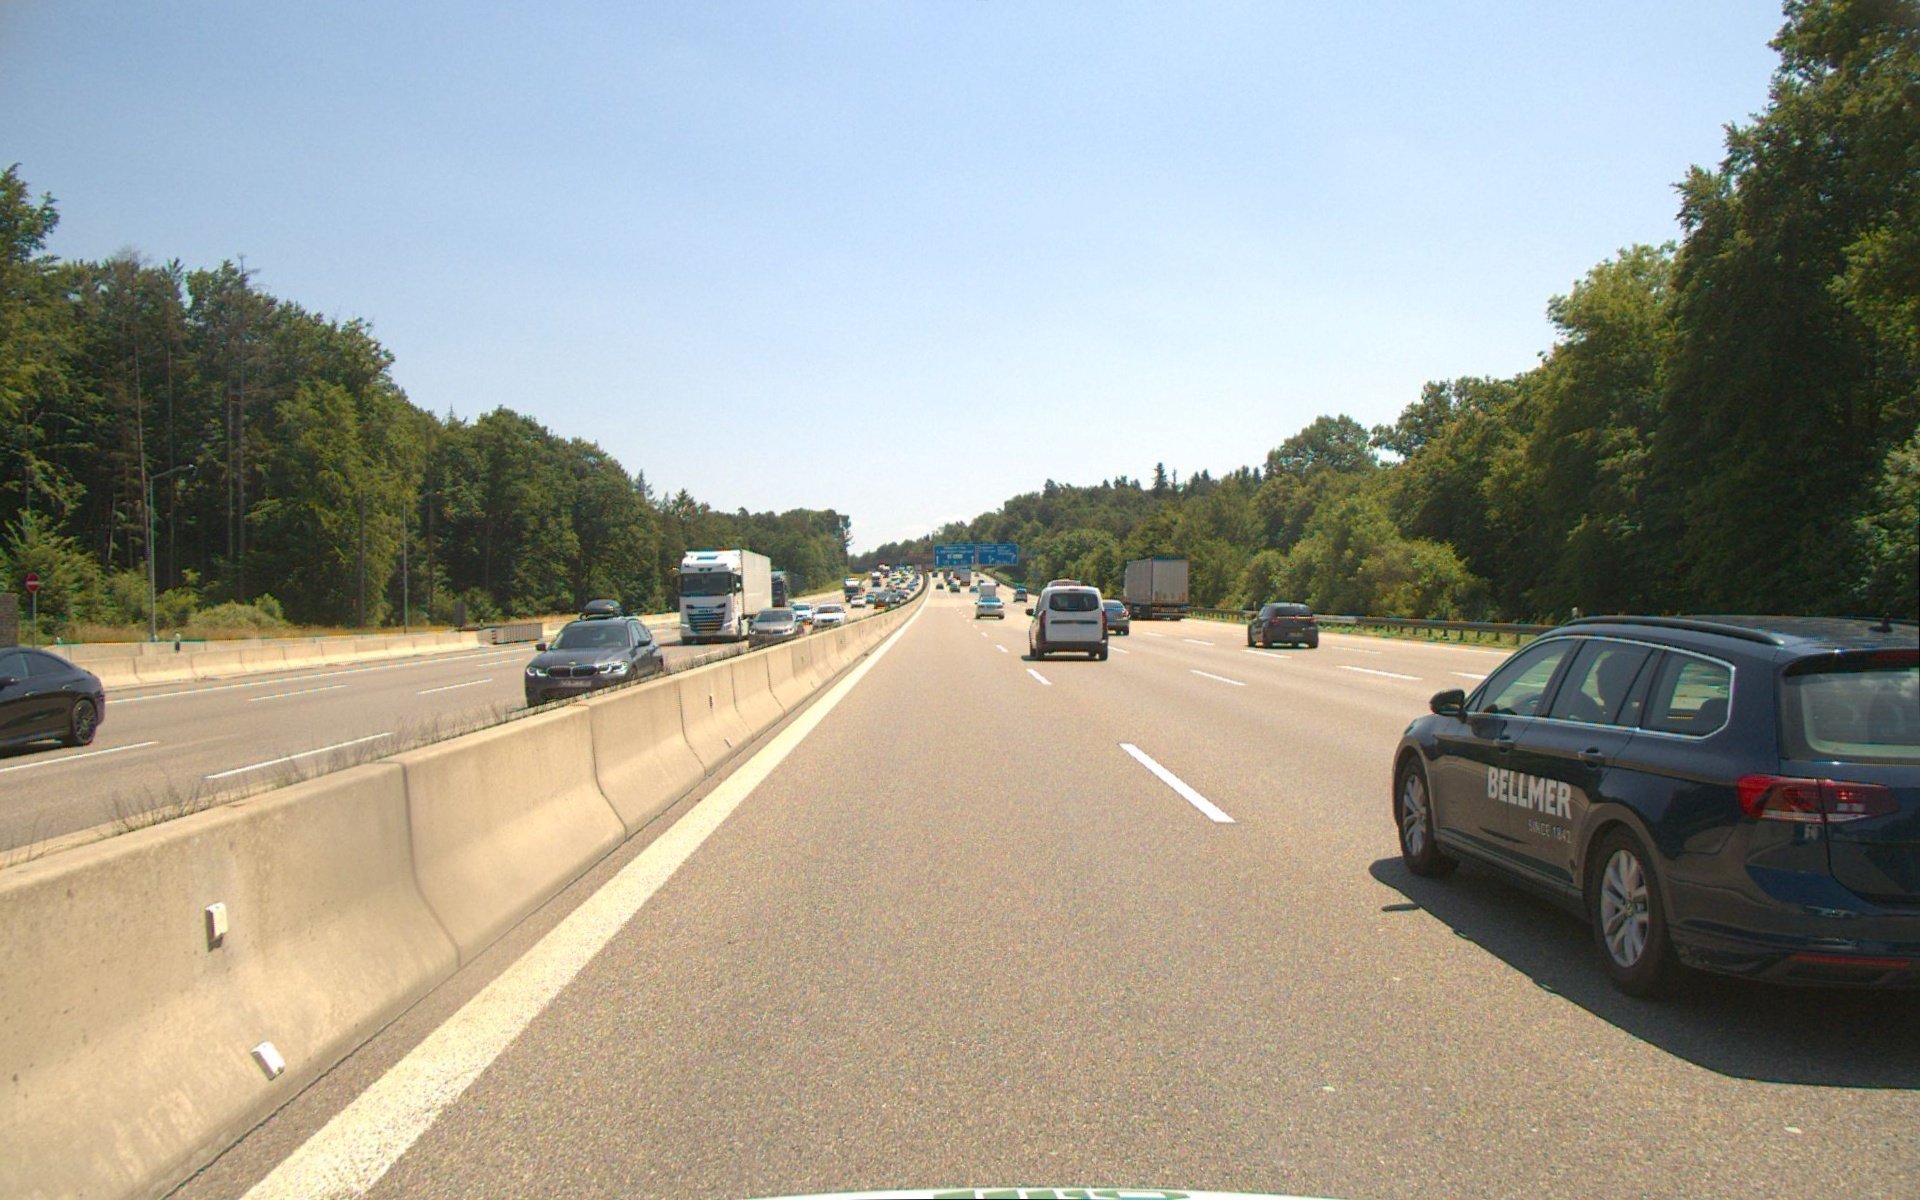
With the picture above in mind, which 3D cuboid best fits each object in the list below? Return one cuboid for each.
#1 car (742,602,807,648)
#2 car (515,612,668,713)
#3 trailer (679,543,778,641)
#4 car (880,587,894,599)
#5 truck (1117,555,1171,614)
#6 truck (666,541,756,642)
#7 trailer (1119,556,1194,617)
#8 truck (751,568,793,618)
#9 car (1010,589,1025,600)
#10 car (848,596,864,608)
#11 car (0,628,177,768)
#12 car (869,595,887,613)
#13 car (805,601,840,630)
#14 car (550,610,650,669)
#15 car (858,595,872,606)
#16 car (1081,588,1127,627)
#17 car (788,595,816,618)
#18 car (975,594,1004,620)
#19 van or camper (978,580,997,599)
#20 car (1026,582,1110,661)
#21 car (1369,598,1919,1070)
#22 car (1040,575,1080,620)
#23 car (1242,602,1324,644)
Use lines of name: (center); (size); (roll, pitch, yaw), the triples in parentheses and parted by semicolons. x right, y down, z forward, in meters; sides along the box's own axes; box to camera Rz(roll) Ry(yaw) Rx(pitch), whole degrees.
car: (-6.719, 0.870, 60.252); (1.953, 1.513, 5.133); (-1, 0, -2)
car: (-6.441, 1.039, 29.402); (1.833, 1.574, 4.589); (-1, 0, -2)
trailer: (-11.163, -0.369, 81.324); (2.962, 4.299, 14.464); (-1, 0, -1)
car: (-9.976, -0.945, 226.249); (1.874, 1.490, 4.586); (-1, 0, -1)
truck: (13.531, -1.184, 122.266); (3.188, 4.178, 5.987); (1, 1, -1)
truck: (-11.061, -0.377, 74.082); (2.985, 4.209, 6.947); (-2, 0, -1)
trailer: (13.603, -1.006, 115.692); (3.221, 3.999, 13.887); (1, 1, -1)
truck: (-15.101, -0.568, 133.357); (2.525, 3.908, 7.015); (-2, 0, -1)
car: (7.868, -0.738, 225.585); (1.798, 1.361, 3.642); (-2, 0, -1)
car: (-13.047, 0.221, 206.926); (1.725, 1.489, 4.838); (-1, 0, -1)
car: (-13.031, 1.288, 22.800); (1.954, 1.649, 5.751); (-1, 0, -3)
car: (-9.486, 0.395, 191.573); (1.859, 1.988, 5.655); (-2, 0, -1)
car: (-7.330, 0.812, 88.500); (1.712, 1.483, 4.154); (-1, 0, -3)
car: (-10.495, 1.123, 48.538); (1.954, 1.513, 5.016); (-3, 0, -2)
car: (-13.617, 0.026, 237.303); (1.874, 1.490, 4.586); (-1, 0, -1)
car: (5.995, 0.295, 69.184); (1.473, 1.526, 3.649); (-2, 0, -1)
car: (-10.985, 0.426, 115.475); (1.688, 1.533, 4.459); (-1, 0, -3)
car: (1.959, 0.478, 111.458); (1.805, 1.657, 4.553); (-2, 0, -1)
van or camper: (4.058, -1.543, 244.541); (2.591, 2.583, 6.501); (-1, 0, -1)
car: (2.707, 0.517, 42.361); (1.821, 1.857, 4.612); (-1, 0, 0)
car: (3.384, 0.739, 7.742); (1.694, 1.472, 4.961); (0, 0, 0)
car: (6.219, -0.213, 103.451); (2.100, 2.698, 5.709); (0, 1, -1)
car: (10.361, 0.704, 53.358); (1.637, 1.296, 4.287); (0, 0, -3)
